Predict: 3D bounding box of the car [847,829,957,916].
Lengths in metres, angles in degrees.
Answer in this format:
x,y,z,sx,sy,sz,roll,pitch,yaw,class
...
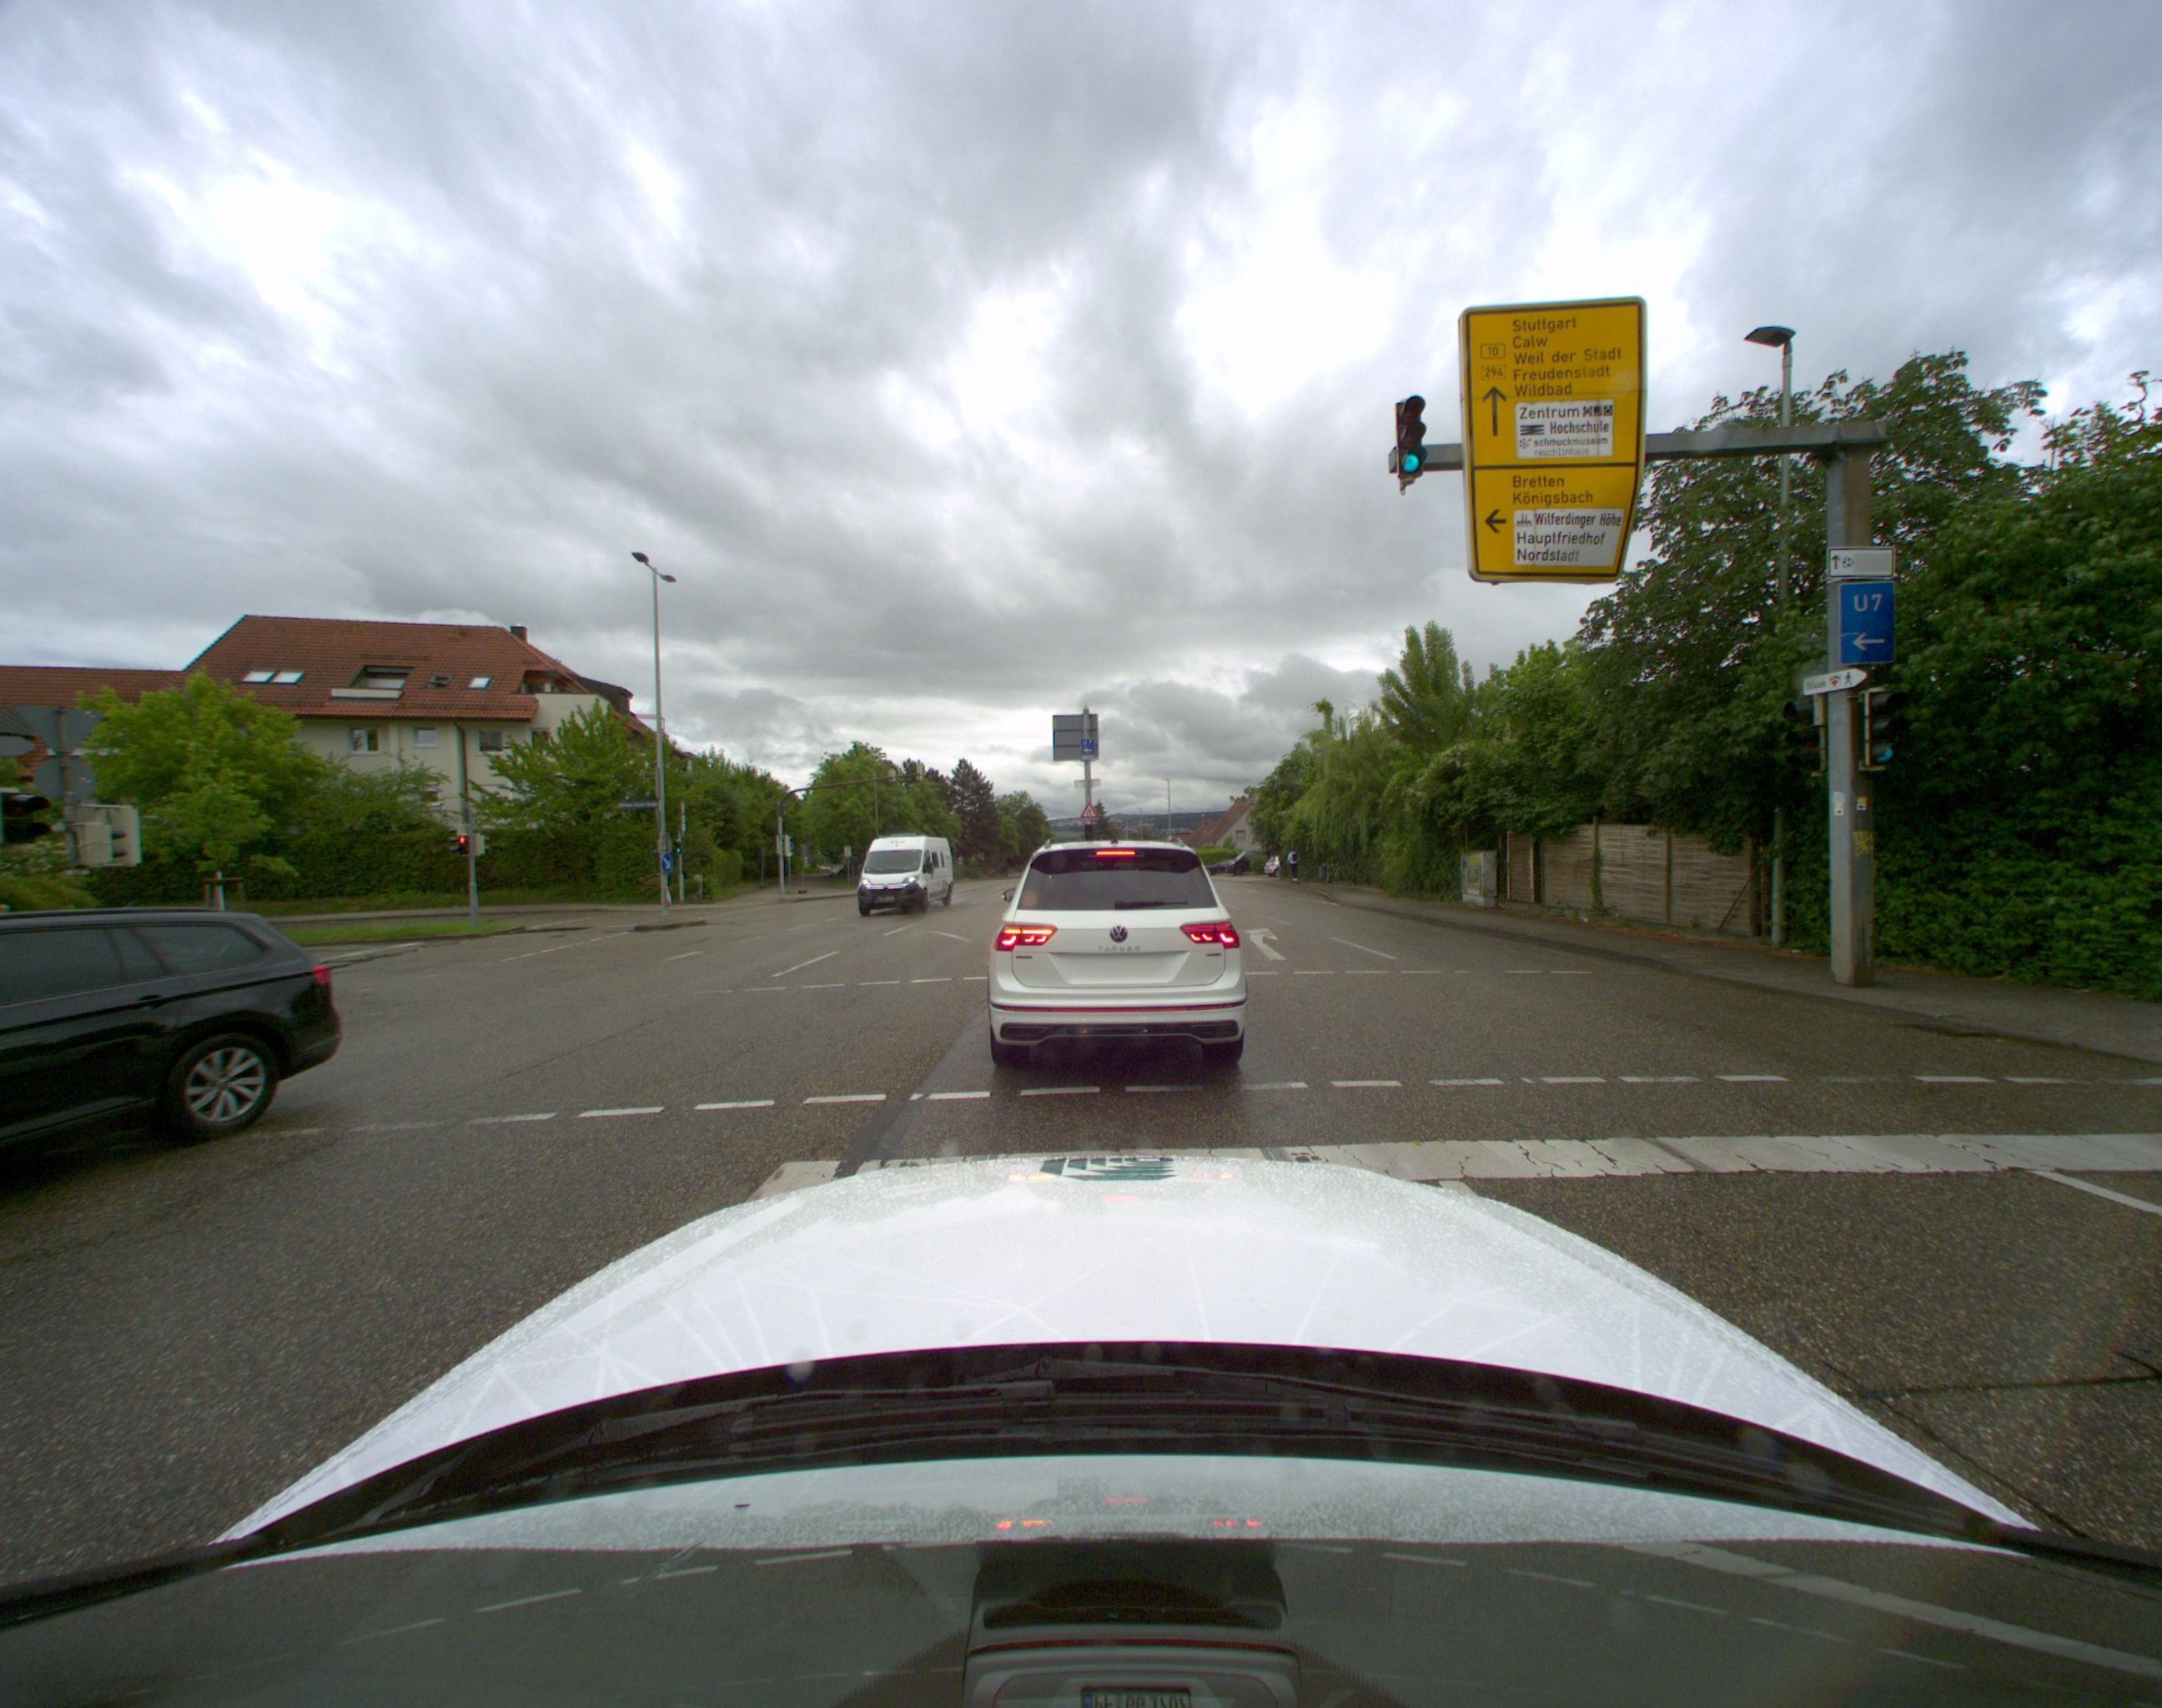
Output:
x,y,z,sx,sy,sz,roll,pitch,yaw,class
-5.845,0.560,27.490,2.289,2.528,5.774,-2,0,1,car

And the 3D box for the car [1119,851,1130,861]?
x,y,z,sx,sy,sz,roll,pitch,yaw,class
7.824,0.370,145.595,1.843,1.574,4.002,-2,0,2,car

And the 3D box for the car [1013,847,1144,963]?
x,y,z,sx,sy,sz,roll,pitch,yaw,class
0.071,0.717,13.379,1.791,1.589,3.929,-2,0,3,car

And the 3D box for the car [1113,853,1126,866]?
x,y,z,sx,sy,sz,roll,pitch,yaw,class
5.655,0.789,120.108,1.843,1.573,4.004,2,5,2,car

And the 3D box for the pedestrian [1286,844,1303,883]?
x,y,z,sx,sy,sz,roll,pitch,yaw,class
11.183,0.501,42.645,0.654,2.002,0.717,-1,-1,-2,pedestrian

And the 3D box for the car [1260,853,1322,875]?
x,y,z,sx,sy,sz,roll,pitch,yaw,class
14.406,0.707,56.012,3.709,1.395,1.725,-2,-2,-6,car

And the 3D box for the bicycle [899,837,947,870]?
x,y,z,sx,sy,sz,roll,pitch,yaw,class
-5.928,-0.028,30.628,1.631,1.126,0.468,-3,0,0,bicycle

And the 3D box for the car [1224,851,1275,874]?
x,y,z,sx,sy,sz,roll,pitch,yaw,class
13.190,0.669,63.901,3.618,1.626,1.790,-1,1,-3,car

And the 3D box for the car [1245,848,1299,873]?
x,y,z,sx,sy,sz,roll,pitch,yaw,class
14.363,0.486,61.359,3.618,1.746,1.707,-2,1,-2,car

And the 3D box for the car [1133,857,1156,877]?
x,y,z,sx,sy,sz,roll,pitch,yaw,class
4.726,0.965,60.887,1.619,1.403,3.691,0,0,2,car

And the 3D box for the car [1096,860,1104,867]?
x,y,z,sx,sy,sz,roll,pitch,yaw,class
4.657,2.342,201.246,1.843,1.574,4.002,-2,0,2,car

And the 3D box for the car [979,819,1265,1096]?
x,y,z,sx,sy,sz,roll,pitch,yaw,class
0.298,0.645,7.189,1.756,1.696,4.273,1,0,1,car

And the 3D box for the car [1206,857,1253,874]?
x,y,z,sx,sy,sz,roll,pitch,yaw,class
12.452,0.989,68.558,3.675,1.370,1.518,-1,-2,0,car

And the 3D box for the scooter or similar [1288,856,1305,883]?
x,y,z,sx,sy,sz,roll,pitch,yaw,class
11.221,0.797,42.433,0.460,1.361,1.384,-1,0,-2,scooter or similar

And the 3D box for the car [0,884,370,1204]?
x,y,z,sx,sy,sz,roll,pitch,yaw,class
-6.224,1.016,3.795,1.770,1.502,4.472,-3,0,1,car
